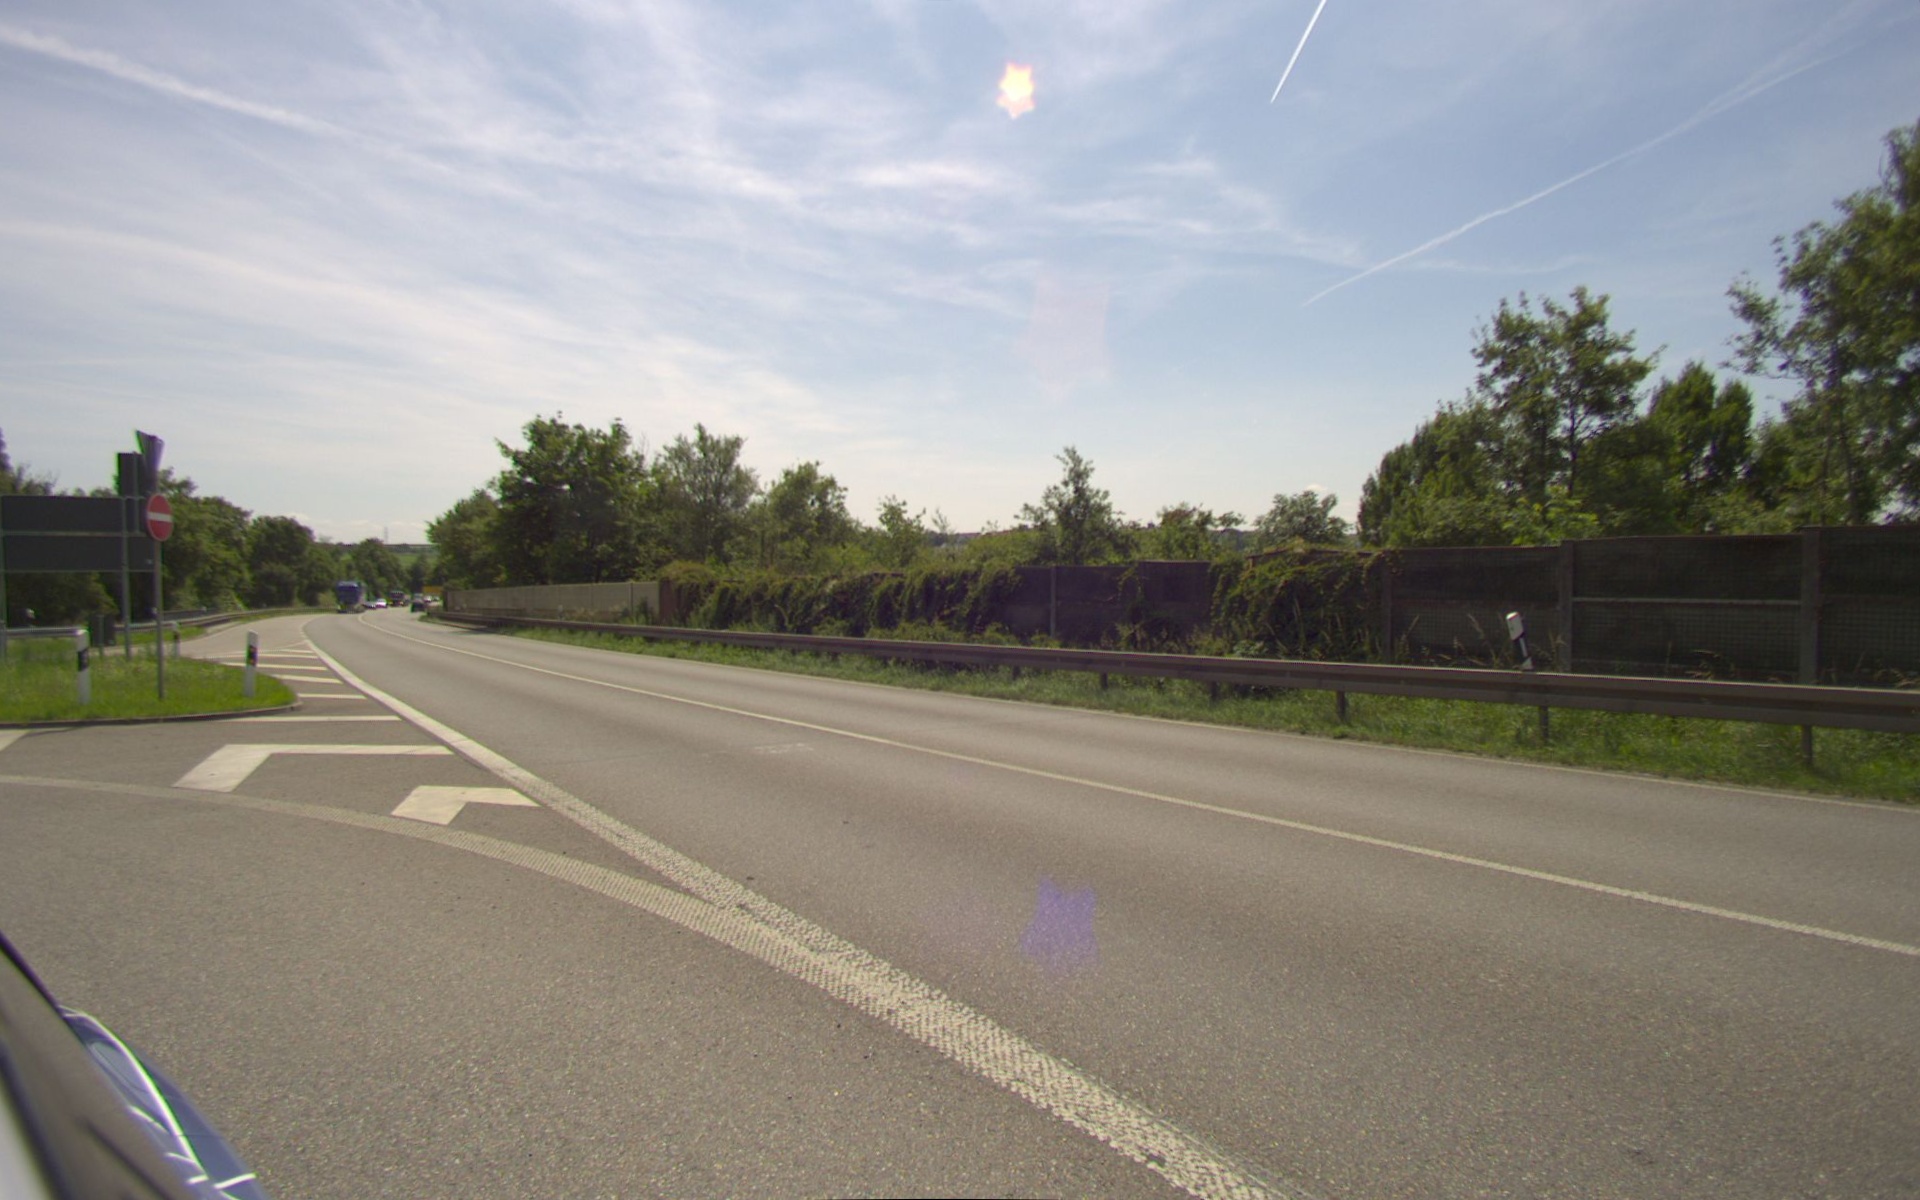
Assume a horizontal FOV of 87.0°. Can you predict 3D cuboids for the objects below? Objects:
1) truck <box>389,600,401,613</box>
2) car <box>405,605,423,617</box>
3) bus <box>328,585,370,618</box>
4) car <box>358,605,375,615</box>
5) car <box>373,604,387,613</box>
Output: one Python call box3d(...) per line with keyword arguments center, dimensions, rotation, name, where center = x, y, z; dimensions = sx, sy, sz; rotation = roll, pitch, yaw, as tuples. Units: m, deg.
box3d(center=(-116.635, 1.249, 208.894), dimensions=(1.965, 2.619, 5.838), rotation=(-1, 0, -27), name="truck")
box3d(center=(-74.159, 1.499, 137.439), dimensions=(1.725, 1.550, 4.120), rotation=(-2, 1, -22), name="car")
box3d(center=(-79.583, 0.231, 132.082), dimensions=(3.295, 4.100, 10.548), rotation=(0, 0, -23), name="bus")
box3d(center=(-97.685, 1.590, 166.630), dimensions=(1.965, 1.654, 4.013), rotation=(0, -1, -25), name="car")
box3d(center=(-106.670, 1.558, 186.182), dimensions=(1.965, 1.658, 4.013), rotation=(-1, 0, -25), name="car")
